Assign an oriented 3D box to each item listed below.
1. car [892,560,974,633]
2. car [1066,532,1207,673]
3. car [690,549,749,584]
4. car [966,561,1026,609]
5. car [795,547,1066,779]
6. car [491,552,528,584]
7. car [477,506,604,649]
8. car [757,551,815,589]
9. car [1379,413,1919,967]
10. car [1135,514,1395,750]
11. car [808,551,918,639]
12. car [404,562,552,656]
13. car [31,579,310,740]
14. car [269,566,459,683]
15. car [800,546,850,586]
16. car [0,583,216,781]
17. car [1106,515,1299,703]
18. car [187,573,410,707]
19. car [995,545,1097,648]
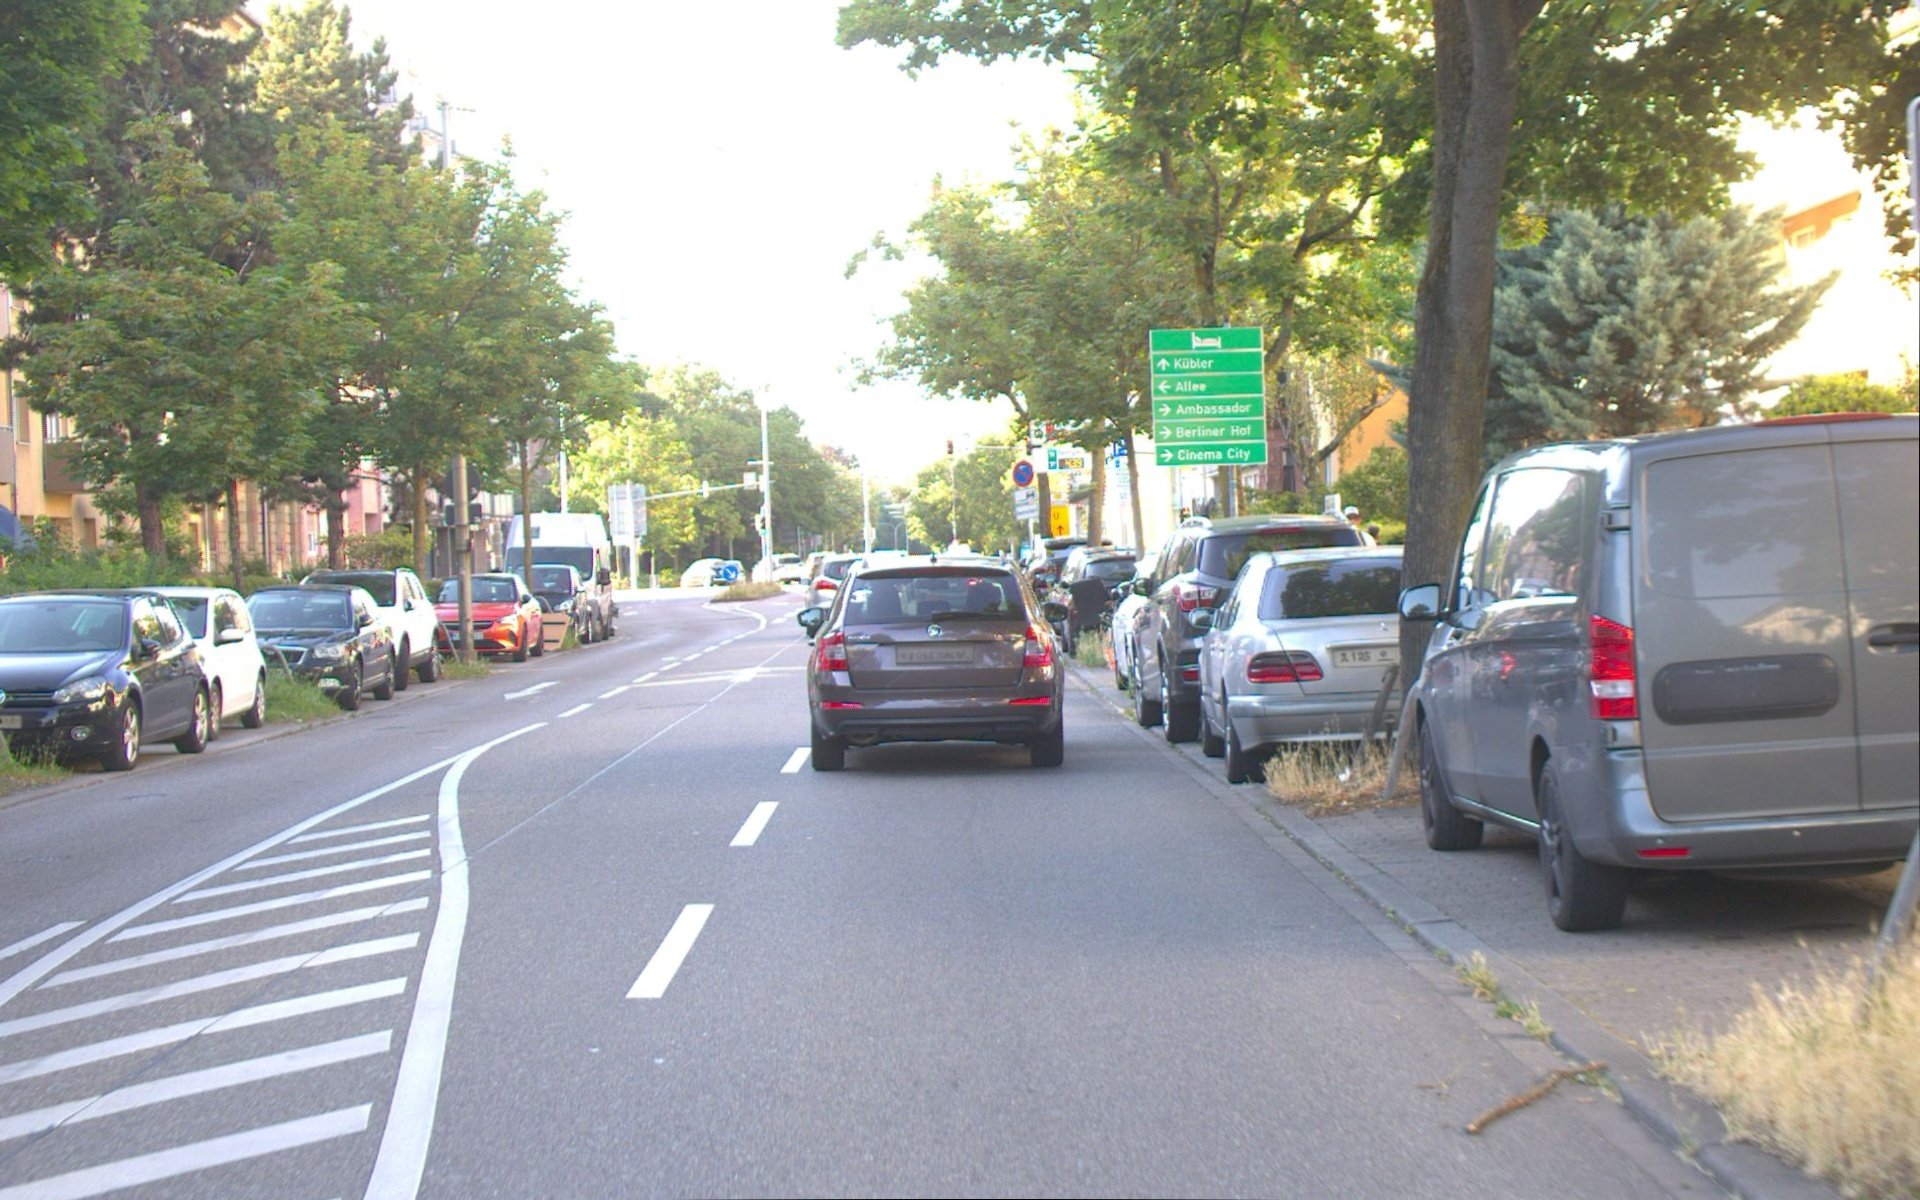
[{"bbox_3d":[-0.691,-0.114,89.247,1.993,1.744,4.000,-2,1,0],"label":"car"},{"bbox_3d":[2.342,-0.003,46.426,1.754,1.799,4.000,-1,1,1],"label":"car"},{"bbox_3d":[-12.416,-1.725,177.349,1.993,1.744,4.001,-3,1,-18],"label":"car"},{"bbox_3d":[1.242,-0.527,120.071,1.644,1.593,3.651,-2,1,-6],"label":"car"},{"bbox_3d":[-0.153,0.383,24.435,1.754,1.487,4.000,-1,1,1],"label":"car"},{"bbox_3d":[-25.844,-1.846,197.163,1.993,1.744,4.001,-2,1,-8],"label":"car"},{"bbox_3d":[-8.468,-0.481,69.834,1.991,2.771,5.504,-1,1,-1],"label":"car"},{"bbox_3d":[-8.397,-1.426,165.764,1.993,1.744,4.001,-2,1,-14],"label":"car"},{"bbox_3d":[3.055,0.249,14.557,1.916,1.854,5.633,-2,1,1],"label":"car"},{"bbox_3d":[2.329,0.200,27.120,1.754,1.709,4.000,-1,1,1],"label":"car"},{"bbox_3d":[-1.740,-0.088,62.228,1.892,1.501,3.790,1,0,-1],"label":"car"},{"bbox_3d":[-7.987,0.120,57.276,1.781,1.475,3.971,-1,1,2],"label":"car"},{"bbox_3d":[-7.885,0.553,34.668,1.781,1.475,3.971,-1,1,2],"label":"car"},{"bbox_3d":[-8.055,0.303,46.805,1.781,1.475,3.971,-1,1,2],"label":"car"},{"bbox_3d":[-6.175,-1.553,156.897,1.993,1.744,4.001,-2,1,-6],"label":"car"},{"bbox_3d":[-7.579,0.632,28.618,1.781,1.475,4.033,-1,1,2],"label":"car"},{"bbox_3d":[2.425,0.052,35.181,1.754,1.799,4.000,-1,1,1],"label":"car"},{"bbox_3d":[-7.849,0.439,41.107,1.781,1.475,3.971,-1,1,2],"label":"car"},{"bbox_3d":[1.558,-0.094,63.362,1.754,1.799,4.000,-1,1,0],"label":"car"}]
